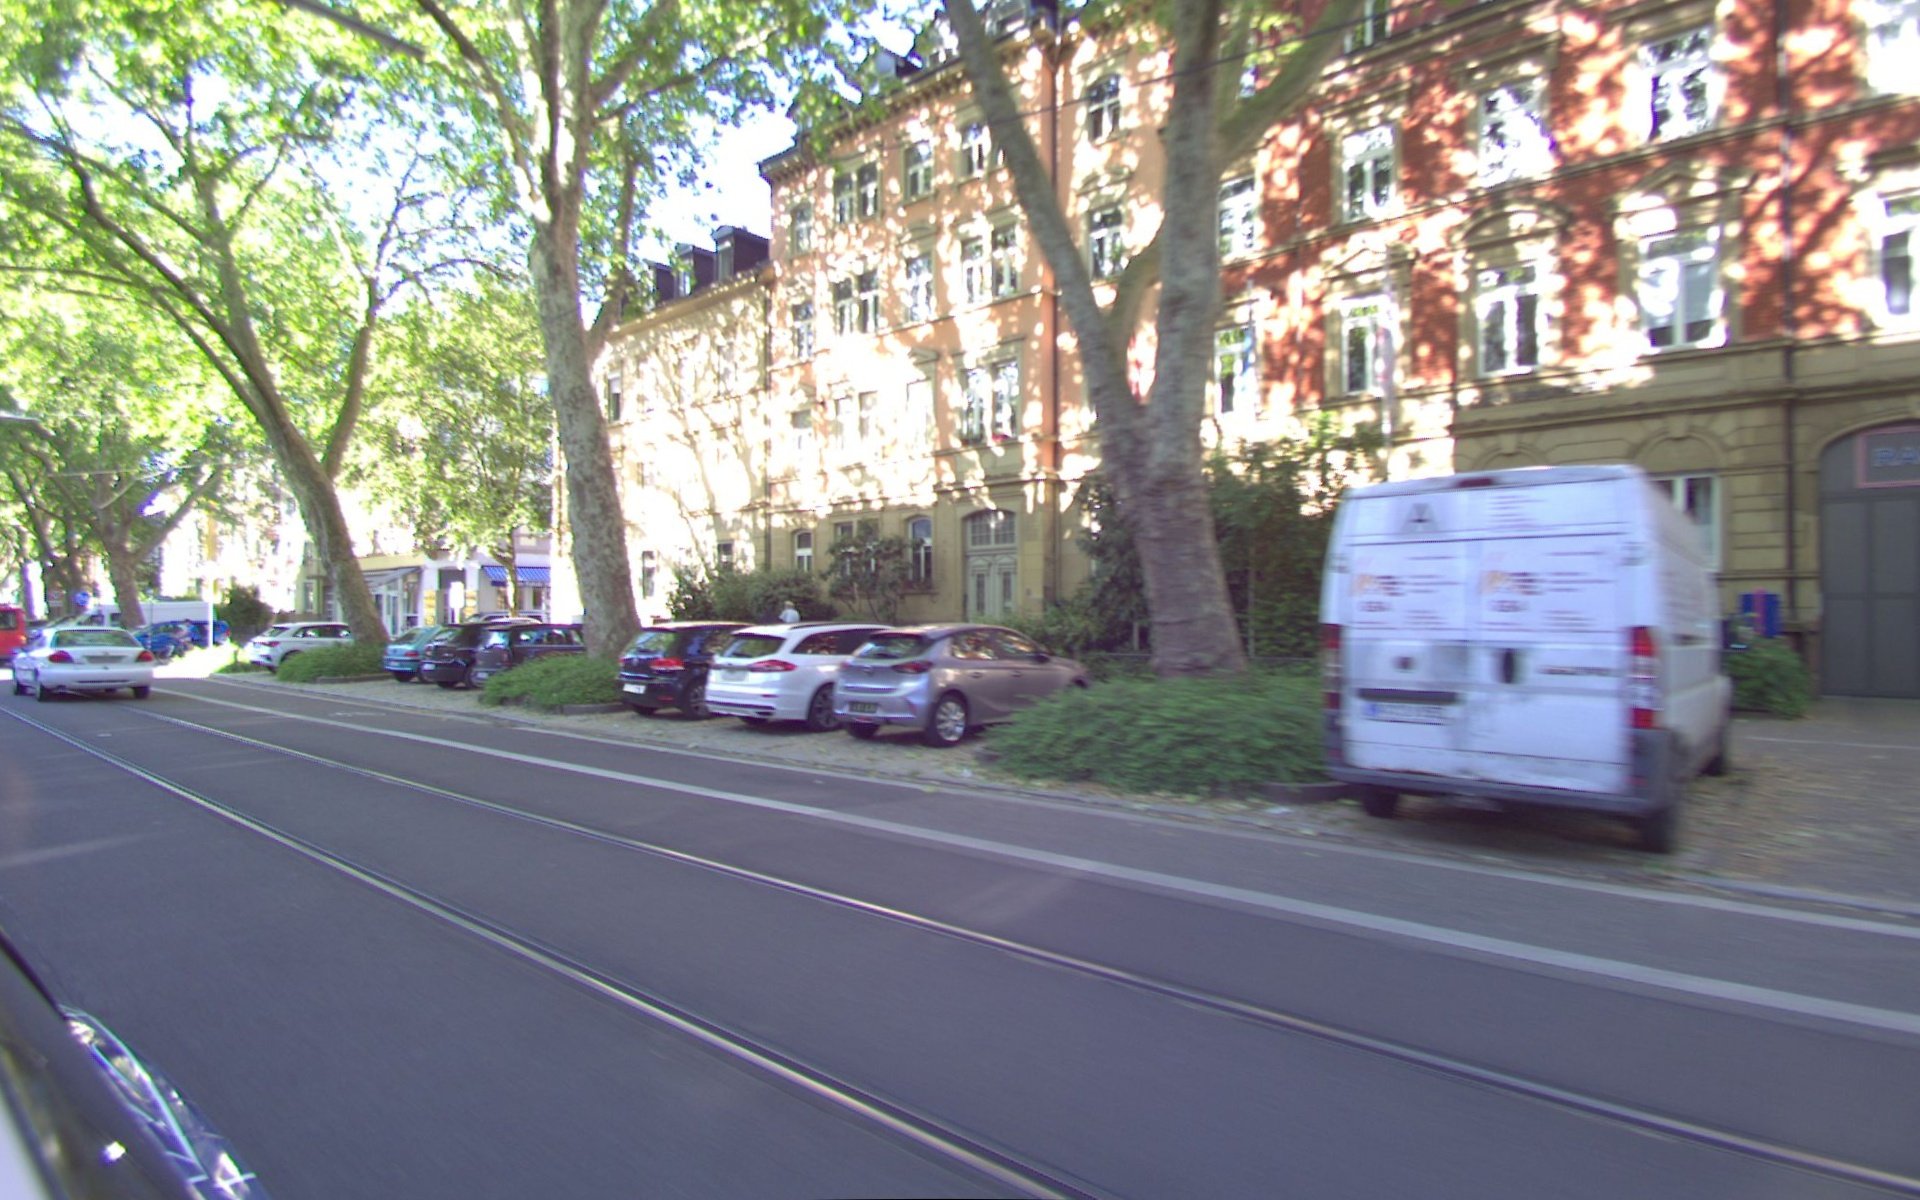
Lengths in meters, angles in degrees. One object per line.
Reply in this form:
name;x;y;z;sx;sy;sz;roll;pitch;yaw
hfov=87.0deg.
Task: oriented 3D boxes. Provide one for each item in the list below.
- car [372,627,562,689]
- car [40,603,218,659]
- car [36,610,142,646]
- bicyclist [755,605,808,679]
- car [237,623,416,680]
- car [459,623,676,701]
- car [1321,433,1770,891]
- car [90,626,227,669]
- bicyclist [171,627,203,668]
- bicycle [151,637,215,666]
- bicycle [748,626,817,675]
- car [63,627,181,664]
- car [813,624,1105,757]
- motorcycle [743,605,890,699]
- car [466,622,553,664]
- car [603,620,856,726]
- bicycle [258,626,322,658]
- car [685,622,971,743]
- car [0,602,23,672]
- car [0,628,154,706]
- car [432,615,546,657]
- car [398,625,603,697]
car;-12.096;1.370;25.041;1.602;1.379;3.952;-1;-2;35
car;-40.863;1.454;49.930;1.999;2.426;6.533;-2;0;41
car;-51.513;1.644;59.927;1.922;1.922;4.576;-2;0;44
bicyclist;-4.429;1.029;25.084;1.048;1.776;0.822;-2;-2;41
car;-17.941;1.406;28.782;1.878;1.471;3.946;-1;-1;40
car;-8.208;1.231;21.409;1.704;1.471;3.943;-2;-2;43
car;5.229;0.371;8.508;2.161;2.555;5.680;-2;-1;41
car;-34.229;1.973;43.313;1.814;1.725;4.278;-1;-2;38
bicyclist;-29.336;1.795;38.417;0.854;1.538;0.738;1;-2;-32
bicycle;-29.439;1.946;38.376;1.844;1.039;0.630;0;-2;-30
bicycle;-4.426;1.233;25.132;1.779;1.147;0.734;-1;-2;41
car;-36.726;1.966;44.417;1.745;1.529;3.733;-1;-2;38
car;0.102;1.053;13.196;1.704;1.443;3.767;-2;-2;43
motorcycle;-2.784;0.938;19.320;3.010;1.643;1.041;-1;1;41
car;-16.904;1.582;37.932;3.485;1.471;1.583;-1;-2;39
car;-3.681;1.097;16.613;1.704;1.471;3.753;-1;-1;42
bicycle;-23.457;1.461;35.458;1.830;1.096;0.397;0;-2;-31
car;-1.812;1.091;14.822;1.830;1.507;3.944;-1;-2;42
car;-32.869;1.204;33.557;4.954;2.244;1.898;-1;-2;39
car;-17.610;1.253;20.117;4.467;1.369;1.700;-1;-2;41
car;-22.722;1.694;48.920;4.517;1.894;2.131;1;1;-43
car;-10.371;1.322;23.110;1.764;1.471;3.956;-1;-2;32
